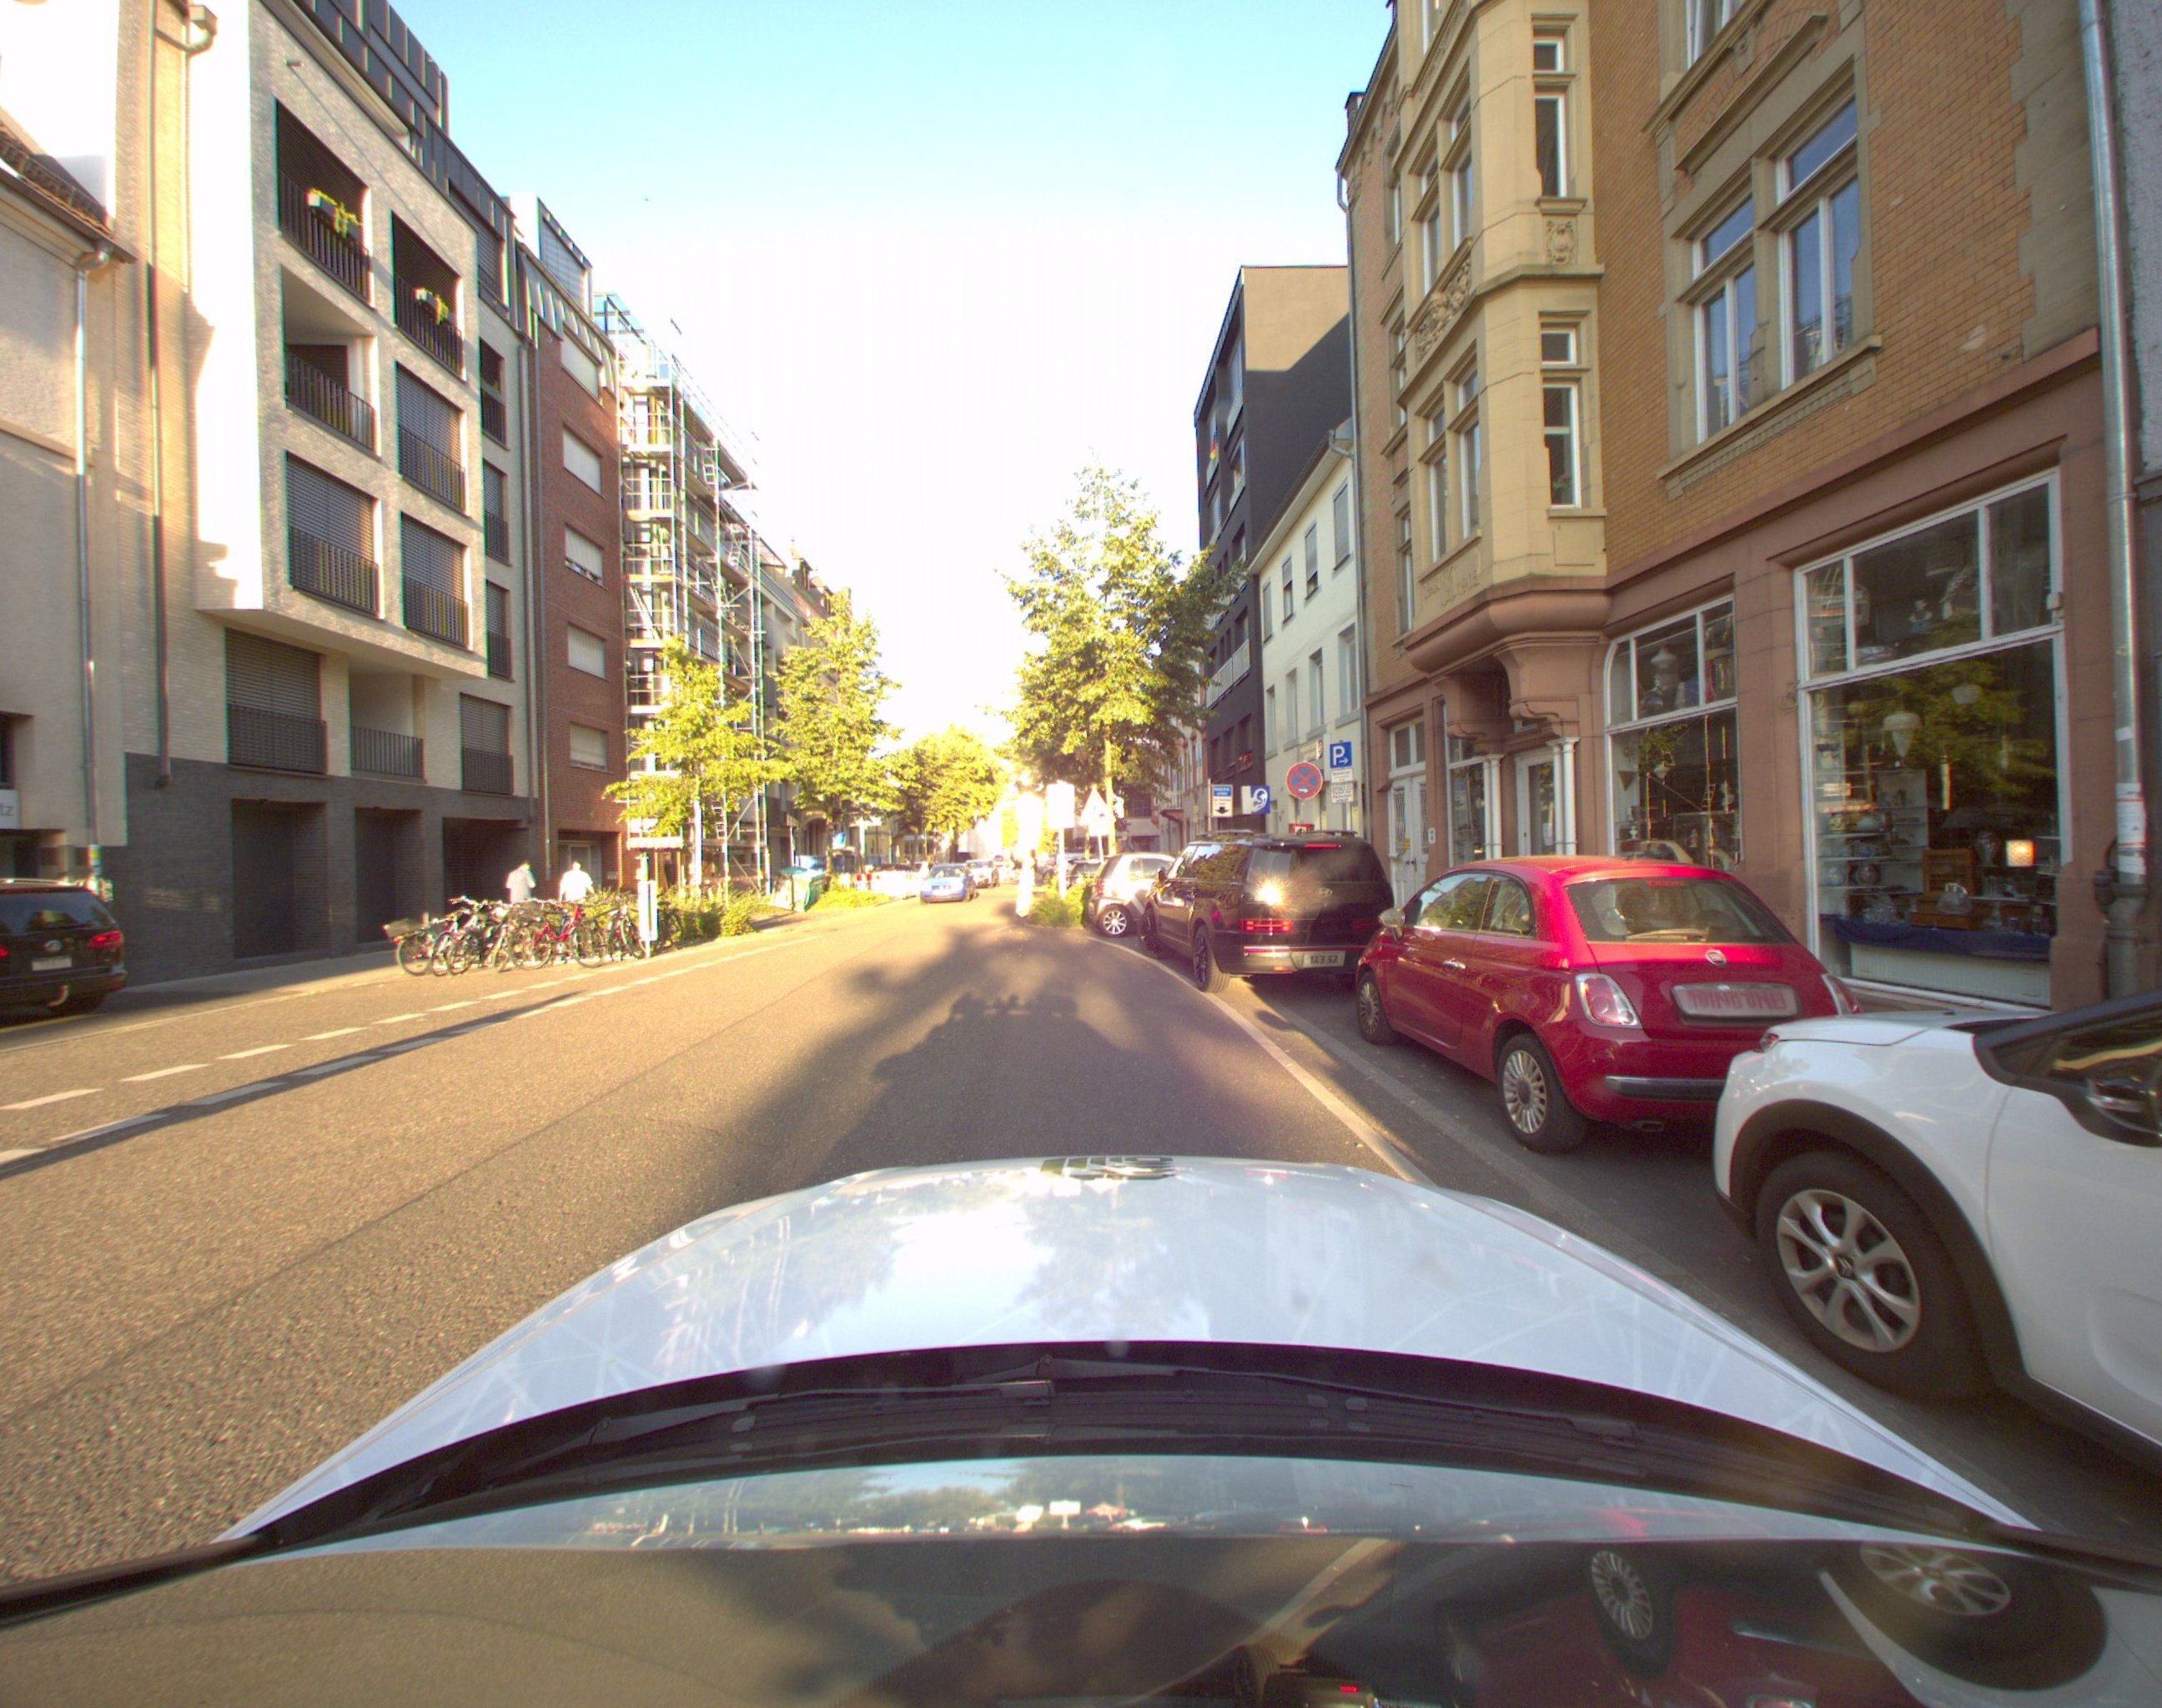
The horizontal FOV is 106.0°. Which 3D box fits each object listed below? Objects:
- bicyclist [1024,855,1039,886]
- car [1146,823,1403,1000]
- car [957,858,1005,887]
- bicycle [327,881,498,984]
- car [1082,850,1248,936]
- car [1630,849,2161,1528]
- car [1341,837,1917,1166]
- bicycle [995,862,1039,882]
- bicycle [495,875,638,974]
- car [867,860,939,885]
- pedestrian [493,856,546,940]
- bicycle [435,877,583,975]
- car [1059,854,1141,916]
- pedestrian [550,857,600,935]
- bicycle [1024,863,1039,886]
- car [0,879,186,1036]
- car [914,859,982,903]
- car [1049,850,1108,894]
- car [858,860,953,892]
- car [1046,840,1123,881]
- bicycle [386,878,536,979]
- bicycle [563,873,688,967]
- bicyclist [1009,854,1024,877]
[{"bbox_3d":[-2.808,0.942,46.379,0.779,1.696,1.005,-3,-1,-4],"label":"bicyclist"},{"bbox_3d":[2.069,0.566,10.084,1.822,1.695,4.361,0,-1,-5],"label":"car"},{"bbox_3d":[-5.398,0.972,44.554,1.876,1.480,4.462,-1,-1,3],"label":"car"},{"bbox_3d":[-10.764,1.179,13.324,0.721,1.395,3.142,0,-1,-10],"label":"bicycle"},{"bbox_3d":[1.567,0.719,15.718,2.965,1.536,1.430,0,-1,-6],"label":"car"},{"bbox_3d":[3.027,0.669,1.312,1.662,1.378,3.800,0,-1,-1],"label":"car"},{"bbox_3d":[3.027,0.682,5.353,1.582,1.483,3.266,0,-1,0],"label":"car"},{"bbox_3d":[-4.732,1.295,60.061,3.175,1.351,0.845,-2,0,-9],"label":"bicycle"},{"bbox_3d":[-8.572,1.091,13.789,0.893,1.395,3.155,-1,0,-10],"label":"bicycle"},{"bbox_3d":[-11.097,1.156,50.967,4.090,1.466,1.889,0,-1,-1],"label":"car"},{"bbox_3d":[-12.145,0.937,17.627,0.717,1.767,0.692,0,-1,-10],"label":"pedestrian"},{"bbox_3d":[-9.414,1.113,13.613,0.781,1.373,3.131,0,-1,-10],"label":"bicycle"},{"bbox_3d":[0.451,0.853,24.394,1.990,1.668,4.501,0,-1,-5],"label":"car"},{"bbox_3d":[-11.470,0.936,18.479,0.717,1.740,0.736,0,-1,-10],"label":"pedestrian"},{"bbox_3d":[-2.804,1.151,46.315,0.779,1.204,2.017,-3,0,-4],"label":"bicycle"},{"bbox_3d":[-13.547,1.129,9.272,4.479,1.601,2.000,0,-1,1],"label":"car"},{"bbox_3d":[-4.824,0.940,30.143,1.833,1.441,4.329,-2,0,-1],"label":"car"},{"bbox_3d":[-0.183,0.800,37.460,2.261,1.766,4.501,4,-1,-5],"label":"car"},{"bbox_3d":[-8.346,1.031,38.995,4.090,1.466,1.889,0,-1,-1],"label":"car"},{"bbox_3d":[0.232,0.341,44.006,3.972,2.013,2.001,-2,0,2],"label":"car"},{"bbox_3d":[-10.100,1.134,13.462,0.585,1.395,3.149,0,-1,-10],"label":"bicycle"},{"bbox_3d":[-7.690,1.041,13.965,0.844,1.350,3.175,-2,0,-10],"label":"bicycle"},{"bbox_3d":[-4.781,0.838,60.036,1.003,1.696,0.781,-2,-1,-7],"label":"bicyclist"}]
